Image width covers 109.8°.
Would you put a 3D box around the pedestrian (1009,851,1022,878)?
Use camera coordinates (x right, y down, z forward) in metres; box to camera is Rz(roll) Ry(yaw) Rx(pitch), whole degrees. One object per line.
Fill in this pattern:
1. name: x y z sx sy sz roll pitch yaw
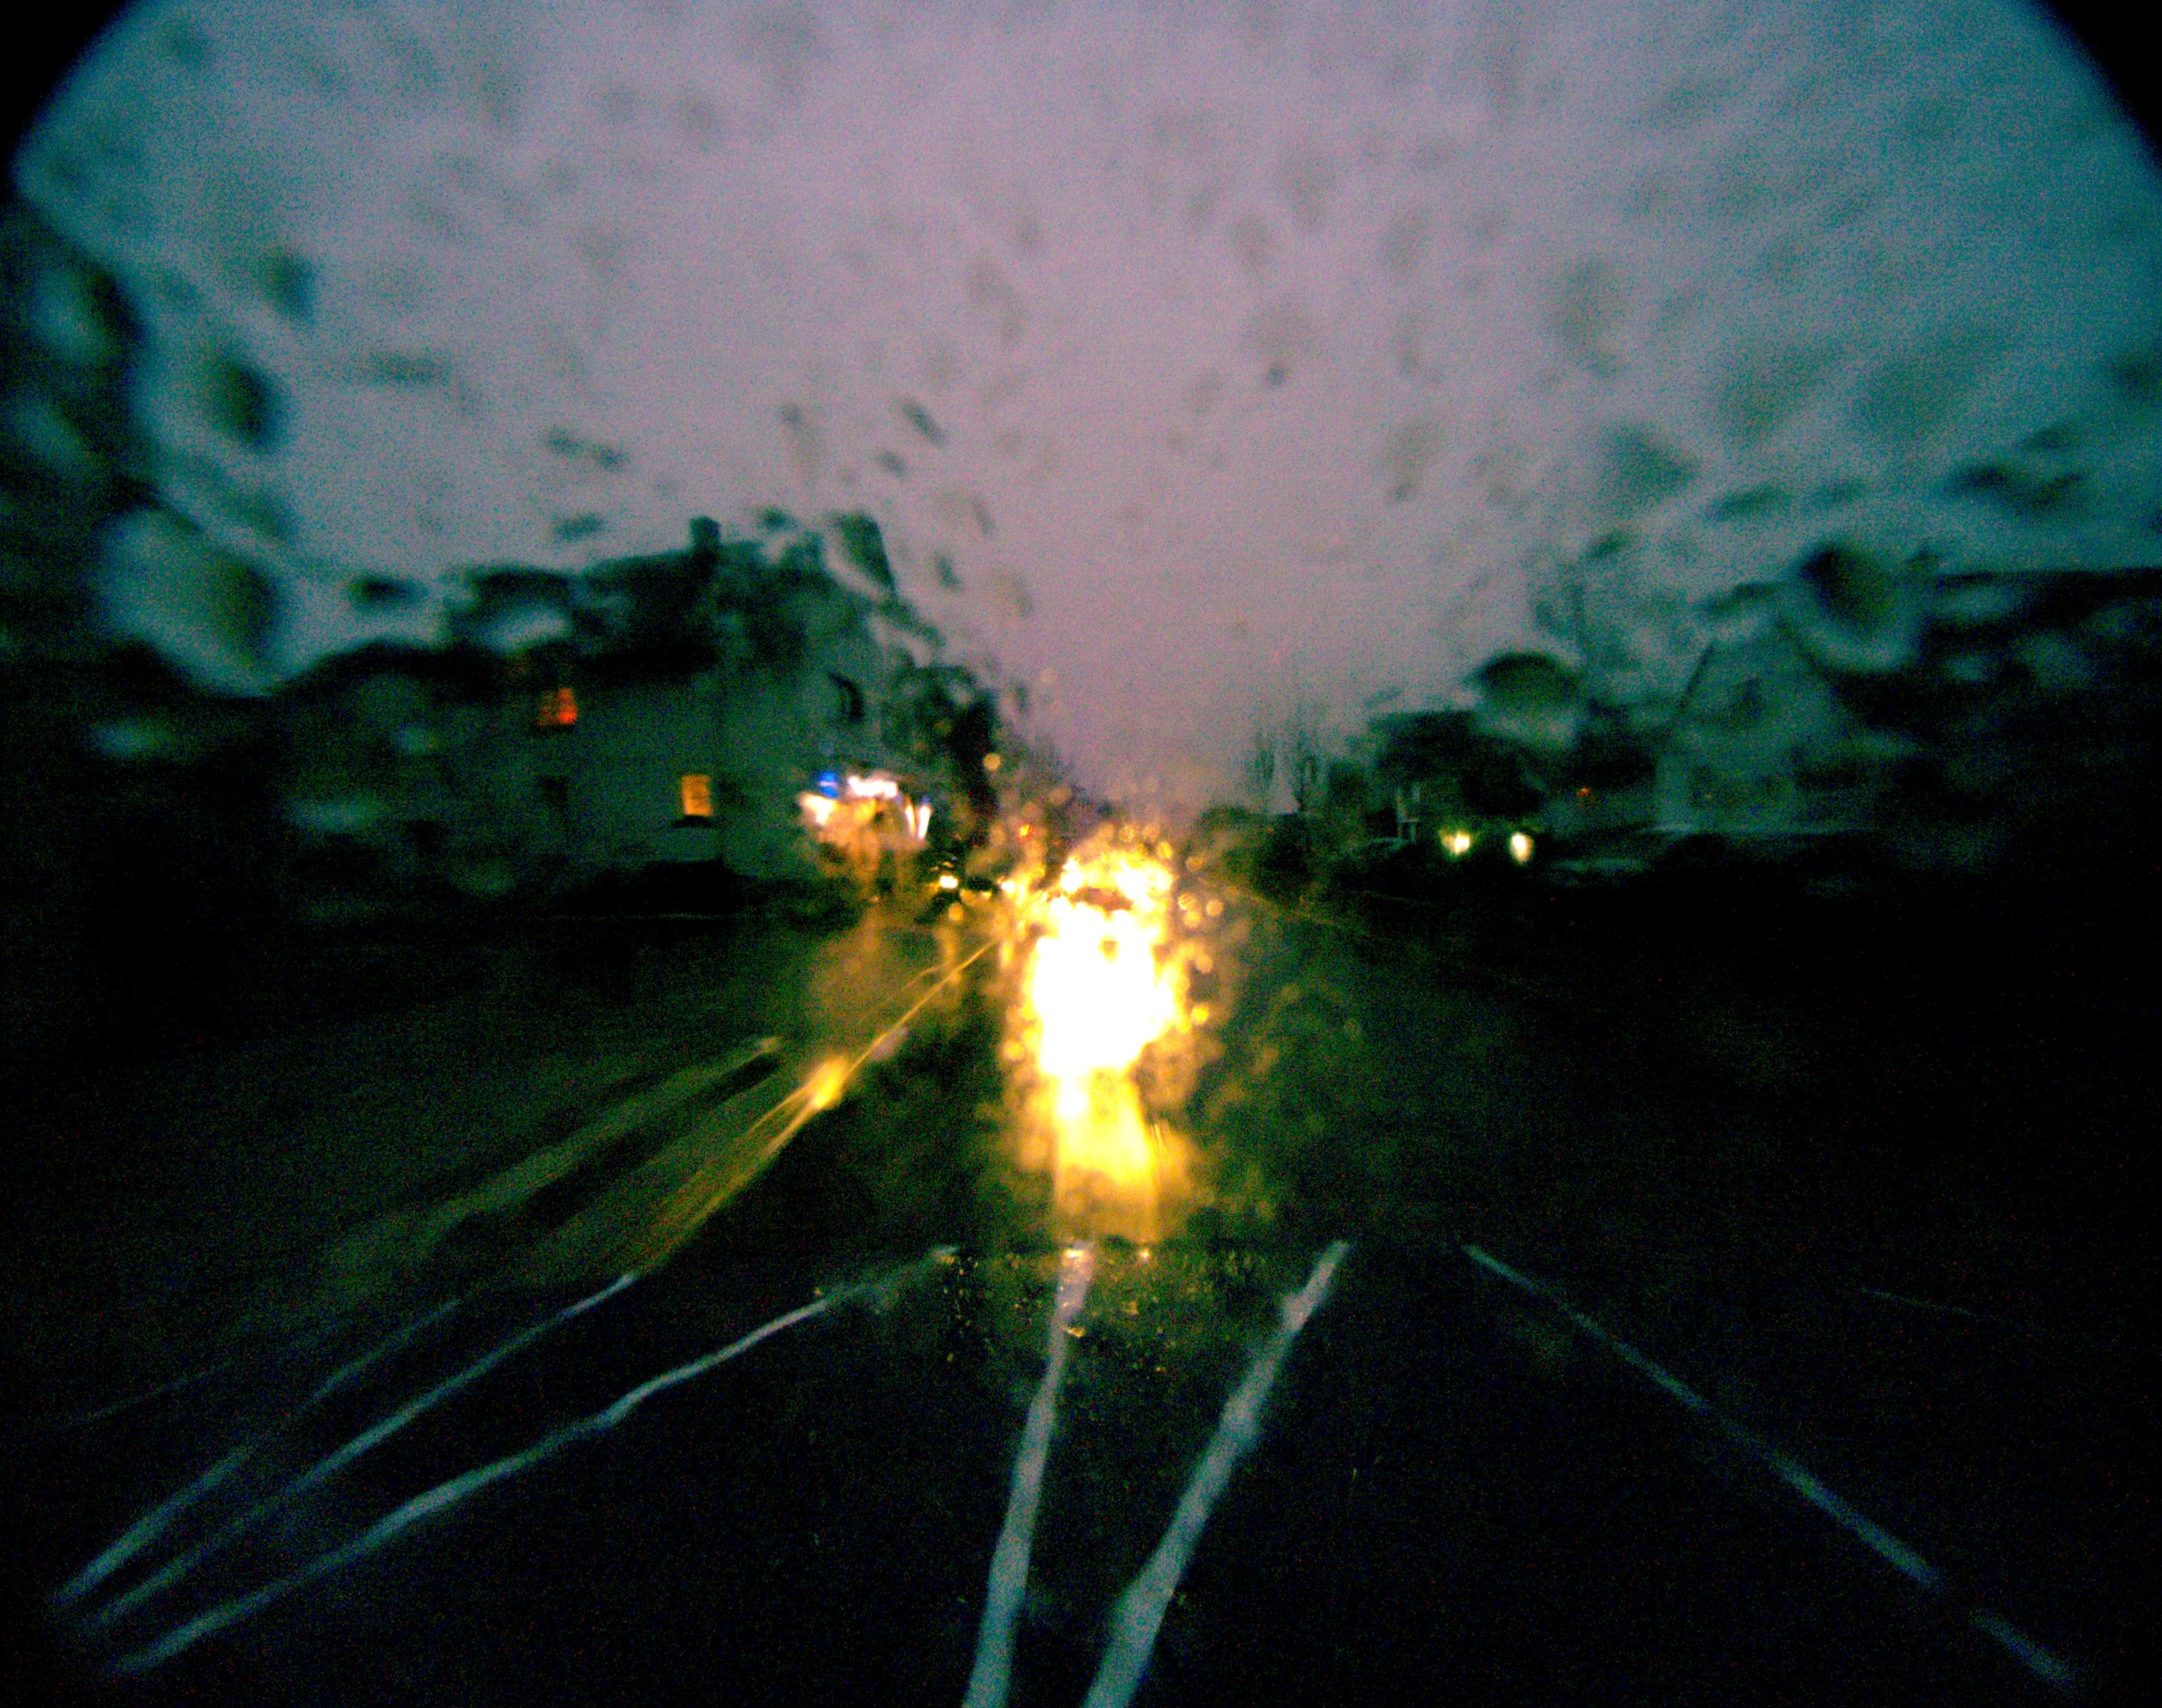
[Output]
1. pedestrian: -3.892 0.612 44.968 0.656 1.596 0.723 0 1 4

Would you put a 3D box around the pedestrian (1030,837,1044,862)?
1. pedestrian: -3.050 -0.289 52.712 0.860 1.713 0.929 -2 1 2

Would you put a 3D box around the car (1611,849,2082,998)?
1. car: 10.174 0.873 10.398 4.513 1.856 1.868 0 0 1

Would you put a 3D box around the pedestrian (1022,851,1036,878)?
1. pedestrian: -3.089 0.601 44.913 0.731 1.596 0.723 0 1 4

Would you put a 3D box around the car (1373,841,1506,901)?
1. car: 12.501 0.582 26.683 3.804 1.940 1.750 1 0 1

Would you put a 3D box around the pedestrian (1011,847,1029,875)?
1. pedestrian: -3.915 0.433 48.589 0.974 1.713 1.026 -2 1 2

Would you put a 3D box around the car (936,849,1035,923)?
1. car: -2.415 0.757 20.428 1.998 1.774 4.520 0 0 1

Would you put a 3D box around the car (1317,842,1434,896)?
1. car: 11.240 0.569 29.169 3.804 1.940 1.750 1 0 1

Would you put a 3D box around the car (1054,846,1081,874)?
1. car: -0.861 0.378 50.211 1.531 1.805 4.000 0 0 2

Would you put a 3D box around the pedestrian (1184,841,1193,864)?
1. pedestrian: 9.412 -0.132 66.311 0.674 2.002 0.604 -2 1 1

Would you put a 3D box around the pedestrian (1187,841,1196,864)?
1. pedestrian: 9.763 -0.143 67.047 0.666 2.020 0.548 -1 0 -1

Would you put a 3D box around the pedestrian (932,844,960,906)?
1. pedestrian: -3.817 0.597 21.498 0.650 1.711 0.469 2 0 7

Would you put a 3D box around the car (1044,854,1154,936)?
1. car: 0.585 0.859 18.377 2.269 1.633 5.067 -1 1 5

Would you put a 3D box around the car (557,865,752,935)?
1. car: -9.380 0.961 16.808 3.555 1.378 1.662 1 0 13

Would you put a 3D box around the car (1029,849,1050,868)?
1. car: -4.133 0.451 74.957 1.781 1.805 3.997 0 0 -8

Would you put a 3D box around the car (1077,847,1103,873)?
1. car: 0.661 0.480 60.829 1.999 2.002 4.774 0 0 0

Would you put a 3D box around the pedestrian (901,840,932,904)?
1. pedestrian: -4.648 0.506 21.514 0.649 1.786 0.508 2 0 13

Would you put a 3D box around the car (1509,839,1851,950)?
1. car: 10.146 0.653 13.146 4.424 1.791 1.845 0 0 1

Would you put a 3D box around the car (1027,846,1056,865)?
1. car: -4.475 0.182 84.994 2.002 2.002 4.300 0 0 -21

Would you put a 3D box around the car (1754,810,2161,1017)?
1. car: 10.065 0.528 7.796 4.513 1.856 2.000 0 0 1

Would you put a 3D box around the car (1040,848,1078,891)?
1. car: -1.065 0.772 38.412 1.748 2.002 3.808 1 0 1

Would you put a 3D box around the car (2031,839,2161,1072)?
1. car: 10.165 0.722 5.089 4.876 1.674 2.001 0 -1 3

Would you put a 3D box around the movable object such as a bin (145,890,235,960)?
1. movable object such as a bin: -13.666 1.078 11.666 0.728 1.034 0.544 0 1 0

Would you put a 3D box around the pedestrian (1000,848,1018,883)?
1. pedestrian: -3.688 0.565 38.872 0.819 1.754 1.060 0 1 1

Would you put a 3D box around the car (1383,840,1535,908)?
1. car: 11.634 0.596 23.592 3.804 1.940 1.750 1 0 1

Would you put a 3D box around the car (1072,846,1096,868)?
1. car: 0.227 0.261 72.062 1.866 2.002 3.842 0 0 -7

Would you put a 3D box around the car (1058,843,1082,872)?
1. car: -0.749 0.229 55.238 1.531 2.002 4.000 0 0 2

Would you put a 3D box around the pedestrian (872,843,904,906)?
1. pedestrian: -5.345 0.566 21.057 0.609 1.711 0.651 2 0 7
